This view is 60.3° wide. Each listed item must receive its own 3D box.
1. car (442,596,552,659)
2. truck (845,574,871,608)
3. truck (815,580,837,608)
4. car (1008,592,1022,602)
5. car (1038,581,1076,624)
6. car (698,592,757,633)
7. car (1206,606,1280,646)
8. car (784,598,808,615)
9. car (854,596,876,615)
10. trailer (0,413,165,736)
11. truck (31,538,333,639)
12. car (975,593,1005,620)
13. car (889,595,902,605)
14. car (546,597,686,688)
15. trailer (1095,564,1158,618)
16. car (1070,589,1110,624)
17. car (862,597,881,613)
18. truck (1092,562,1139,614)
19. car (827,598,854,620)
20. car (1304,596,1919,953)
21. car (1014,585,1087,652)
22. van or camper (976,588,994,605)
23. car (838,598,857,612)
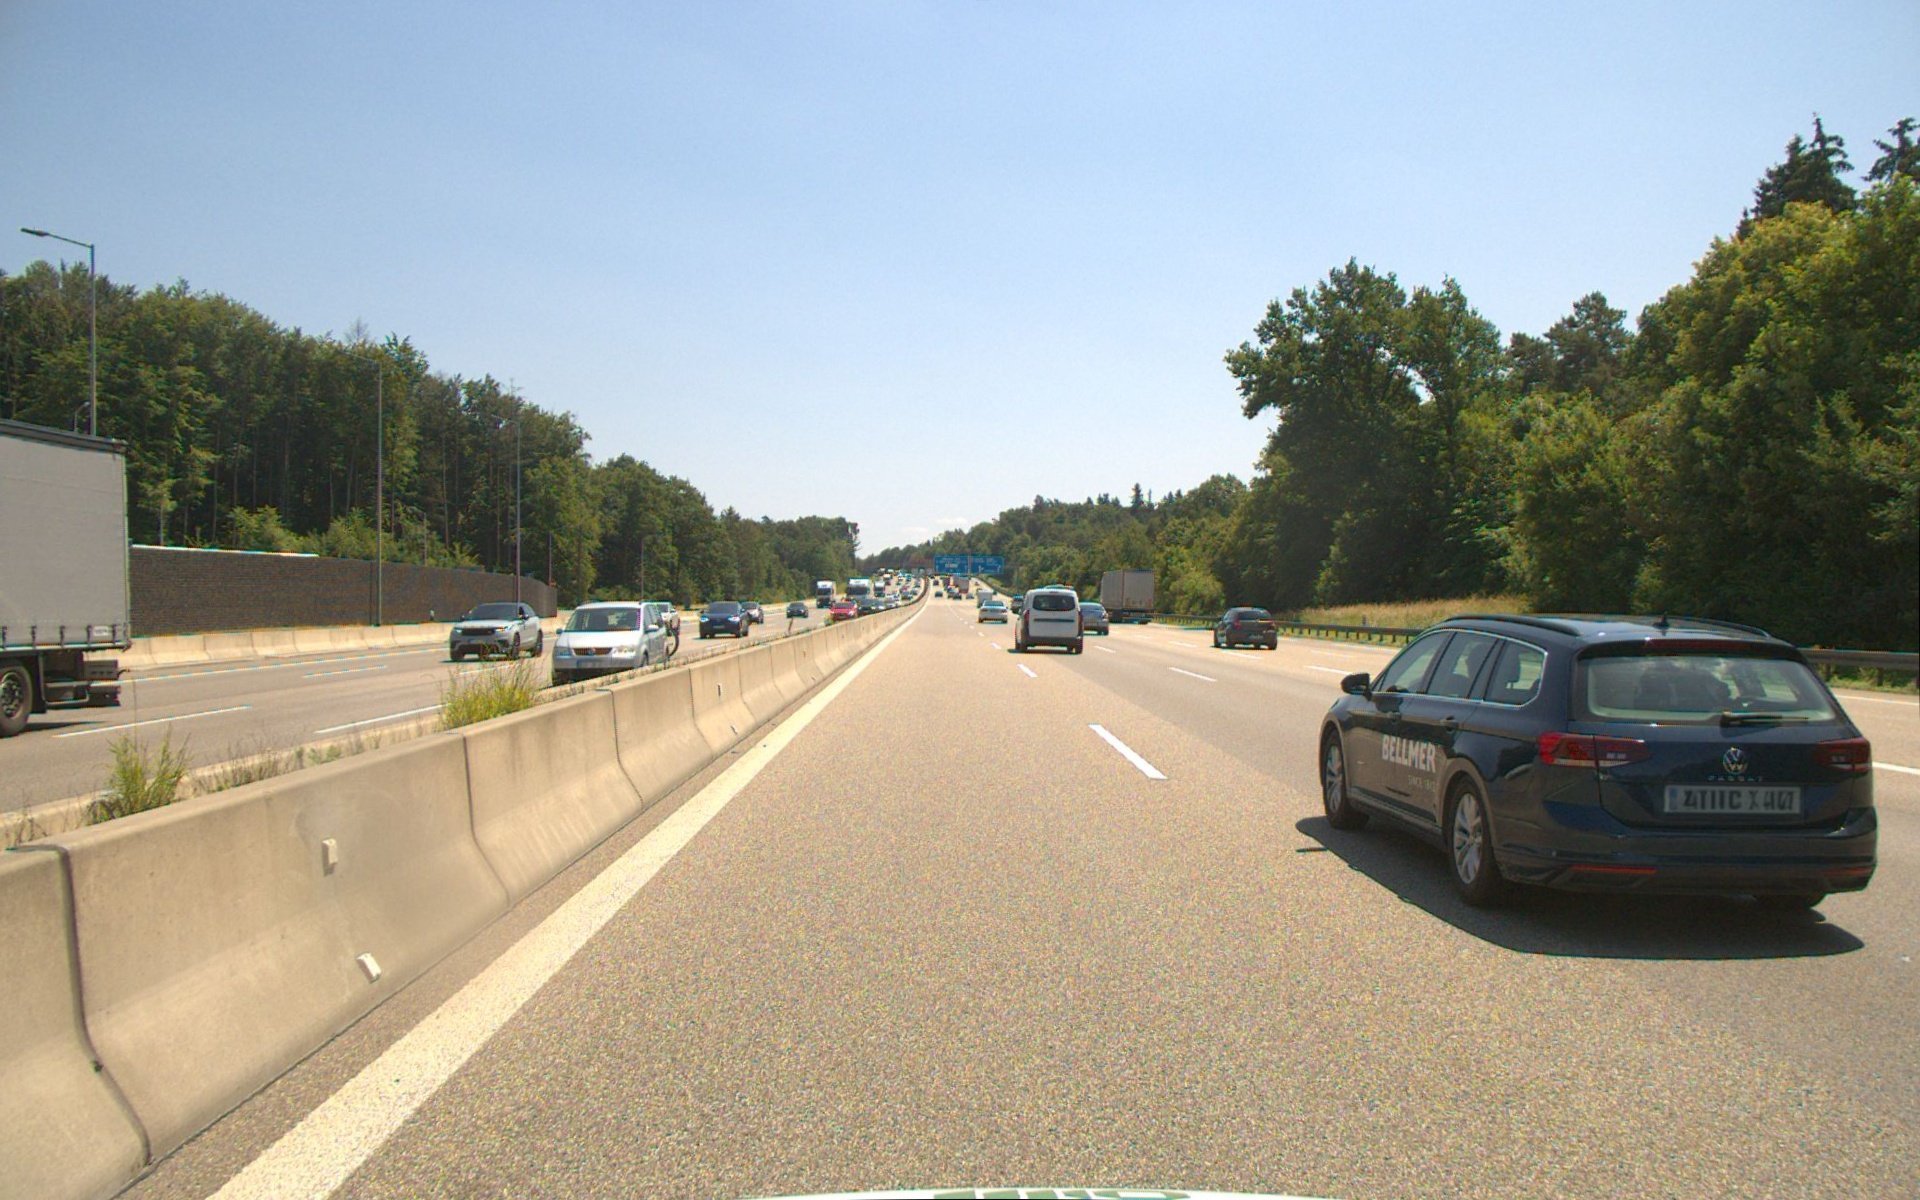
[{"bbox_3d":[-13.935,0.791,50.076,1.953,1.805,5.038,0,0,-1],"label":"car"},{"bbox_3d":[-13.085,-1.144,213.214,2.985,4.209,6.947,-1,0,-1],"label":"truck"},{"bbox_3d":[-20.733,-0.944,256.215,2.777,4.271,10.593,-1,0,-1],"label":"truck"},{"bbox_3d":[7.616,-0.372,228.292,1.798,1.361,3.642,-1,0,-1],"label":"car"},{"bbox_3d":[6.431,0.114,109.953,2.100,2.698,5.709,1,1,-1],"label":"car"},{"bbox_3d":[-10.577,0.536,75.712,1.953,1.805,5.922,0,0,-1],"label":"car"},{"bbox_3d":[9.904,0.885,58.198,1.637,1.296,4.287,-1,0,-3],"label":"car"},{"bbox_3d":[-15.628,0.608,158.048,1.953,1.649,5.752,0,0,-2],"label":"car"},{"bbox_3d":[-8.855,0.516,154.223,1.953,1.692,5.752,-1,0,-2],"label":"car"},{"bbox_3d":[-13.400,-0.299,18.003,2.698,4.071,14.464,-1,0,-1],"label":"trailer"},{"bbox_3d":[-46.824,-0.700,100.461,3.392,5.711,16.598,0,0,43],"label":"truck"},{"bbox_3d":[1.960,0.420,108.187,1.805,1.657,4.552,-1,0,-1],"label":"car"},{"bbox_3d":[-9.265,0.030,237.402,1.712,1.483,4.154,0,0,-3],"label":"car"},{"bbox_3d":[-6.794,0.782,33.246,1.747,1.672,5.462,0,0,-1],"label":"car"},{"bbox_3d":[13.231,-0.794,132.907,3.221,3.999,13.887,2,1,-1],"label":"trailer"},{"bbox_3d":[5.961,0.294,76.084,1.473,1.527,3.649,-1,0,-1],"label":"car"},{"bbox_3d":[-9.459,0.510,177.540,1.953,1.692,4.969,-1,0,-2],"label":"car"},{"bbox_3d":[13.077,-1.028,139.352,3.188,4.178,5.987,2,1,-1],"label":"truck"},{"bbox_3d":[-8.583,0.641,118.976,1.695,1.540,5.043,0,0,-1],"label":"car"},{"bbox_3d":[3.380,0.742,9.556,1.694,1.472,4.961,2,0,0],"label":"car"},{"bbox_3d":[2.607,0.514,48.570,1.822,1.857,4.611,-1,0,0],"label":"car"},{"bbox_3d":[3.924,-0.611,259.636,2.591,2.583,6.501,0,0,-1],"label":"van or camper"},{"bbox_3d":[-12.917,0.581,190.453,1.954,1.513,5.016,-2,0,-3],"label":"car"}]
